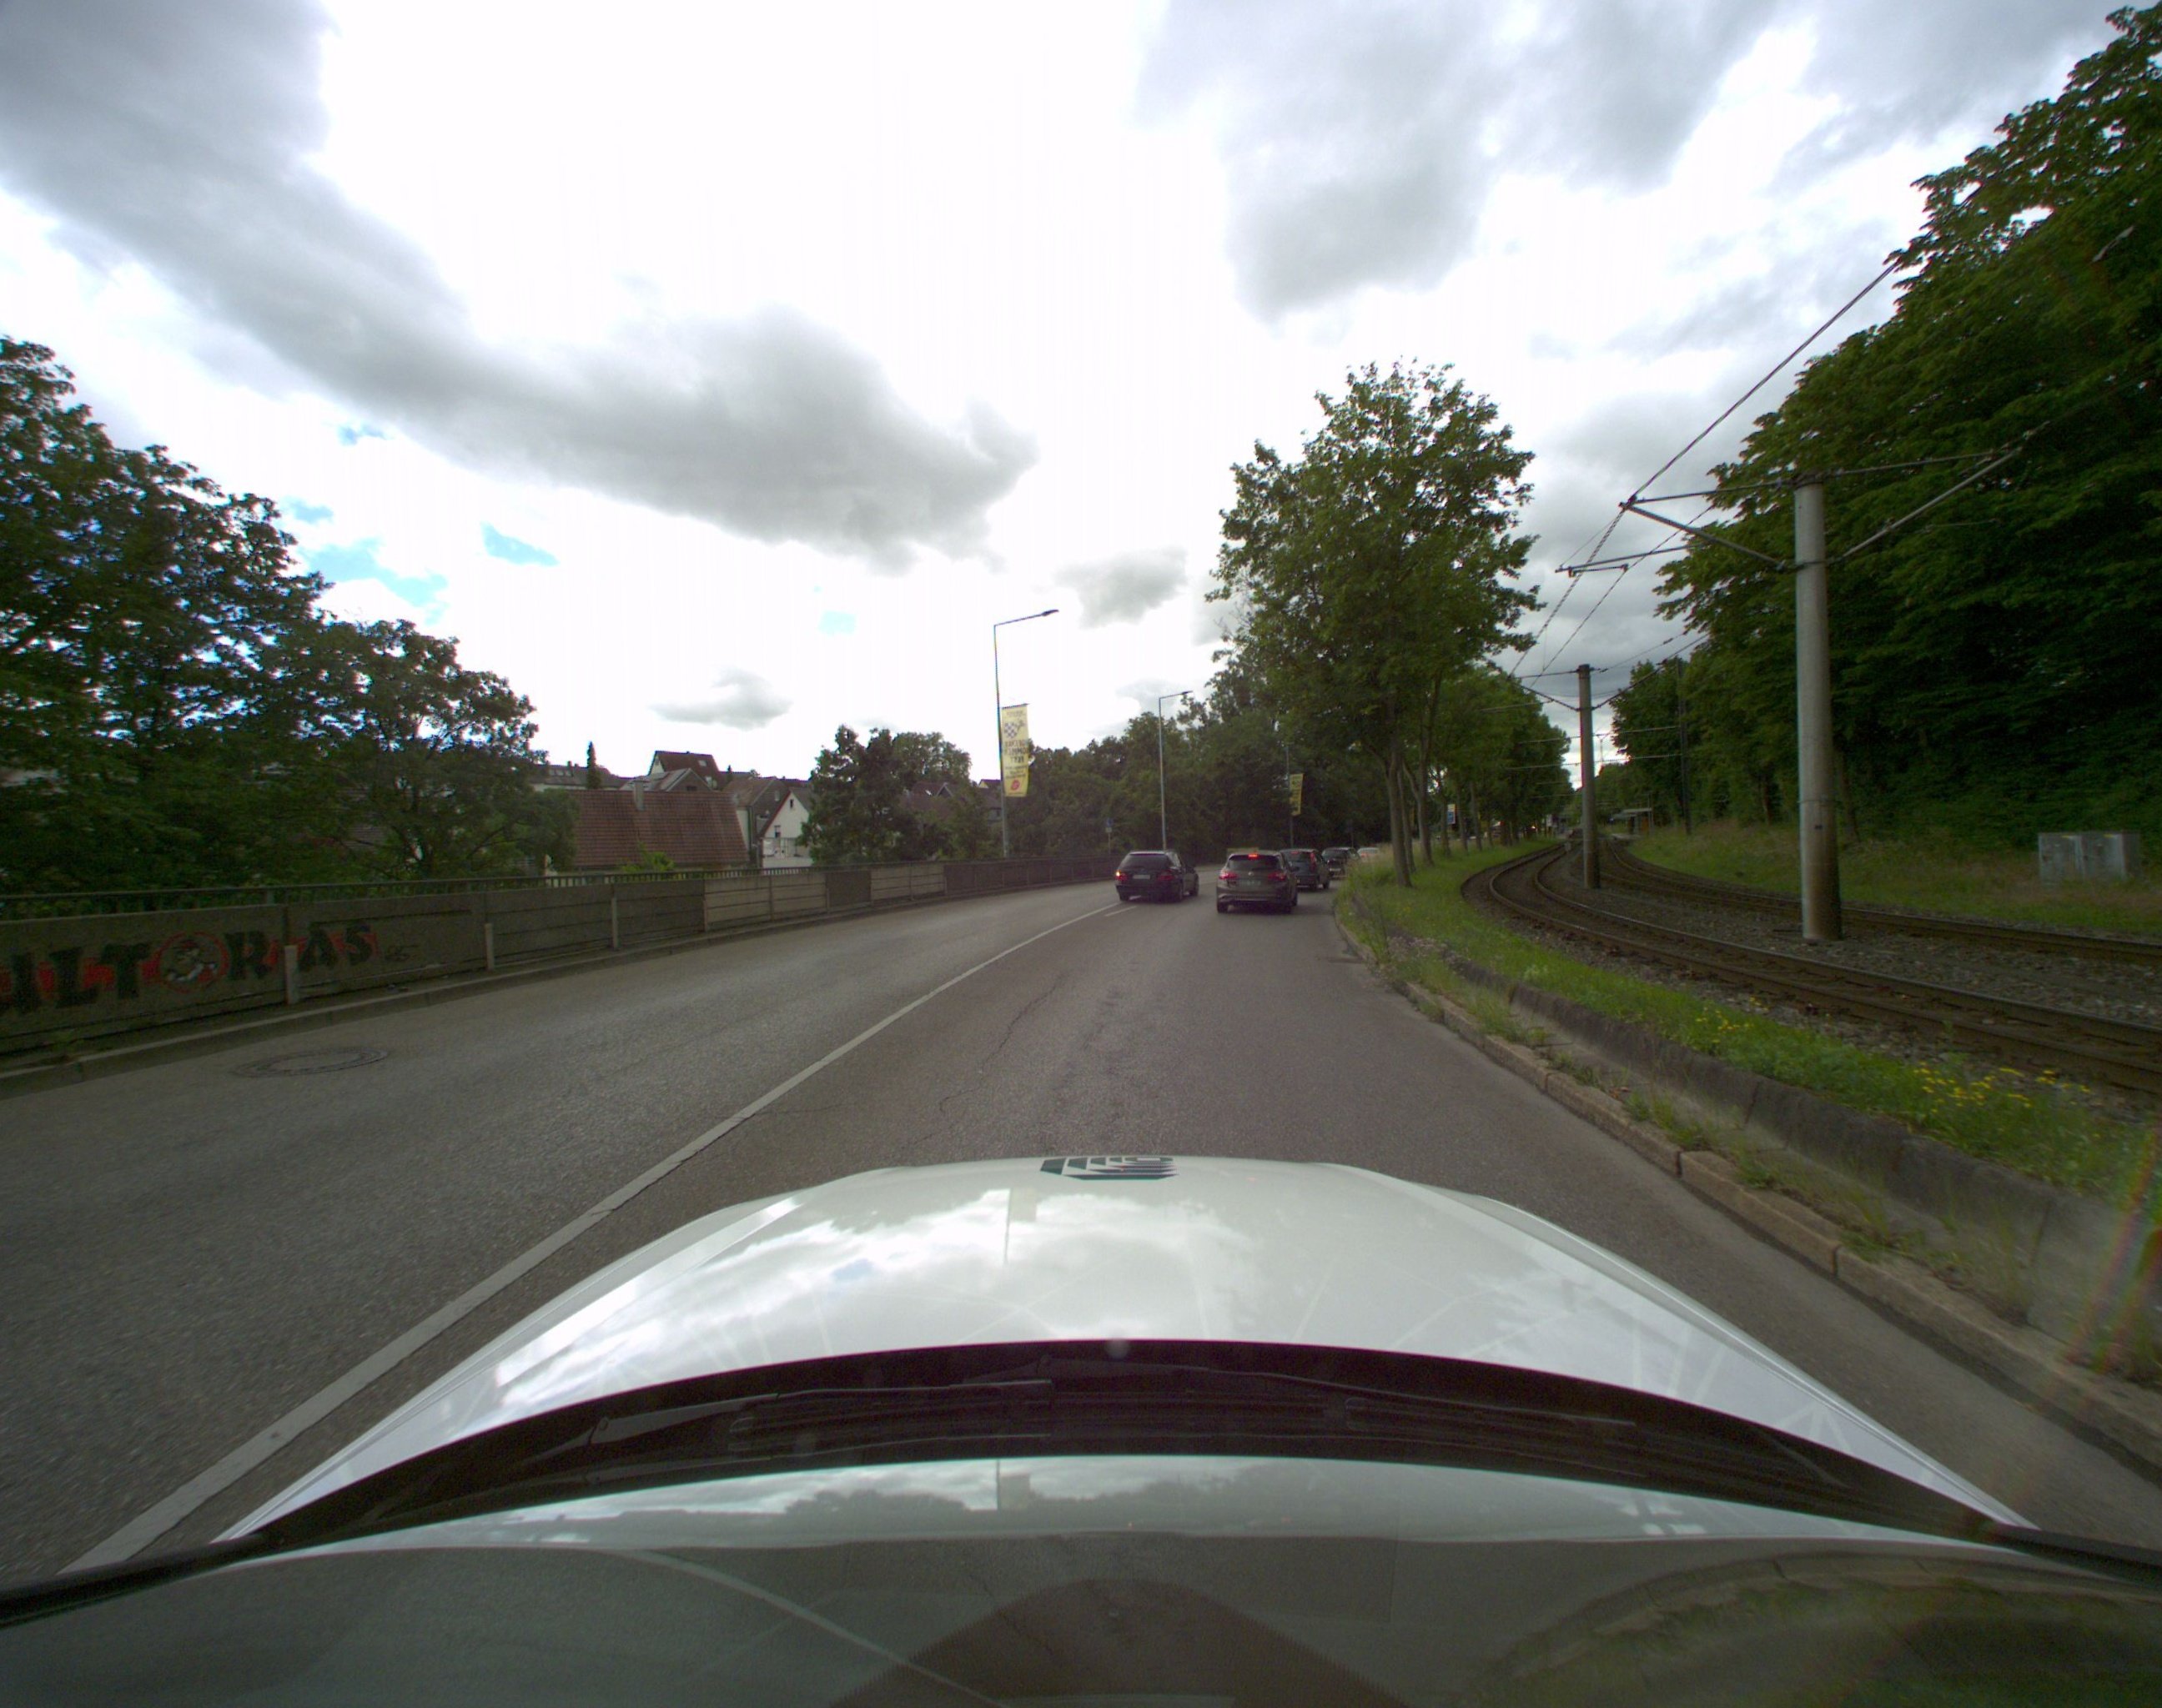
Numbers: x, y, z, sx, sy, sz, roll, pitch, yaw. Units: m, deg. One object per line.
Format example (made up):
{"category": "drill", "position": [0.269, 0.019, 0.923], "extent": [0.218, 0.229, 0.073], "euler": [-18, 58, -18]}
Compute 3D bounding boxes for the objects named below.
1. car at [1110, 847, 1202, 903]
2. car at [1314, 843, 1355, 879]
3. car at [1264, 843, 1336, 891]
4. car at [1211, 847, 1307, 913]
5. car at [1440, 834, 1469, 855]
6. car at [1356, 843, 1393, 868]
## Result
{"category": "car", "position": [2.362, 0.548, 24.539], "extent": [1.837, 1.486, 4.441], "euler": [1, 1, 17]}
{"category": "car", "position": [11.639, 0.302, 37.226], "extent": [1.565, 1.538, 4.020], "euler": [-2, -1, 20]}
{"category": "car", "position": [7.942, 0.450, 29.257], "extent": [1.876, 1.574, 4.022], "euler": [-1, 0, 24]}
{"category": "car", "position": [4.642, 0.596, 20.824], "extent": [1.759, 1.494, 4.021], "euler": [0, 0, 22]}
{"category": "car", "position": [34.597, -0.852, 75.461], "extent": [1.909, 1.860, 4.025], "euler": [-2, -1, 31]}
{"category": "car", "position": [16.902, 0.062, 46.807], "extent": [1.486, 1.364, 3.609], "euler": [-2, -1, 27]}
